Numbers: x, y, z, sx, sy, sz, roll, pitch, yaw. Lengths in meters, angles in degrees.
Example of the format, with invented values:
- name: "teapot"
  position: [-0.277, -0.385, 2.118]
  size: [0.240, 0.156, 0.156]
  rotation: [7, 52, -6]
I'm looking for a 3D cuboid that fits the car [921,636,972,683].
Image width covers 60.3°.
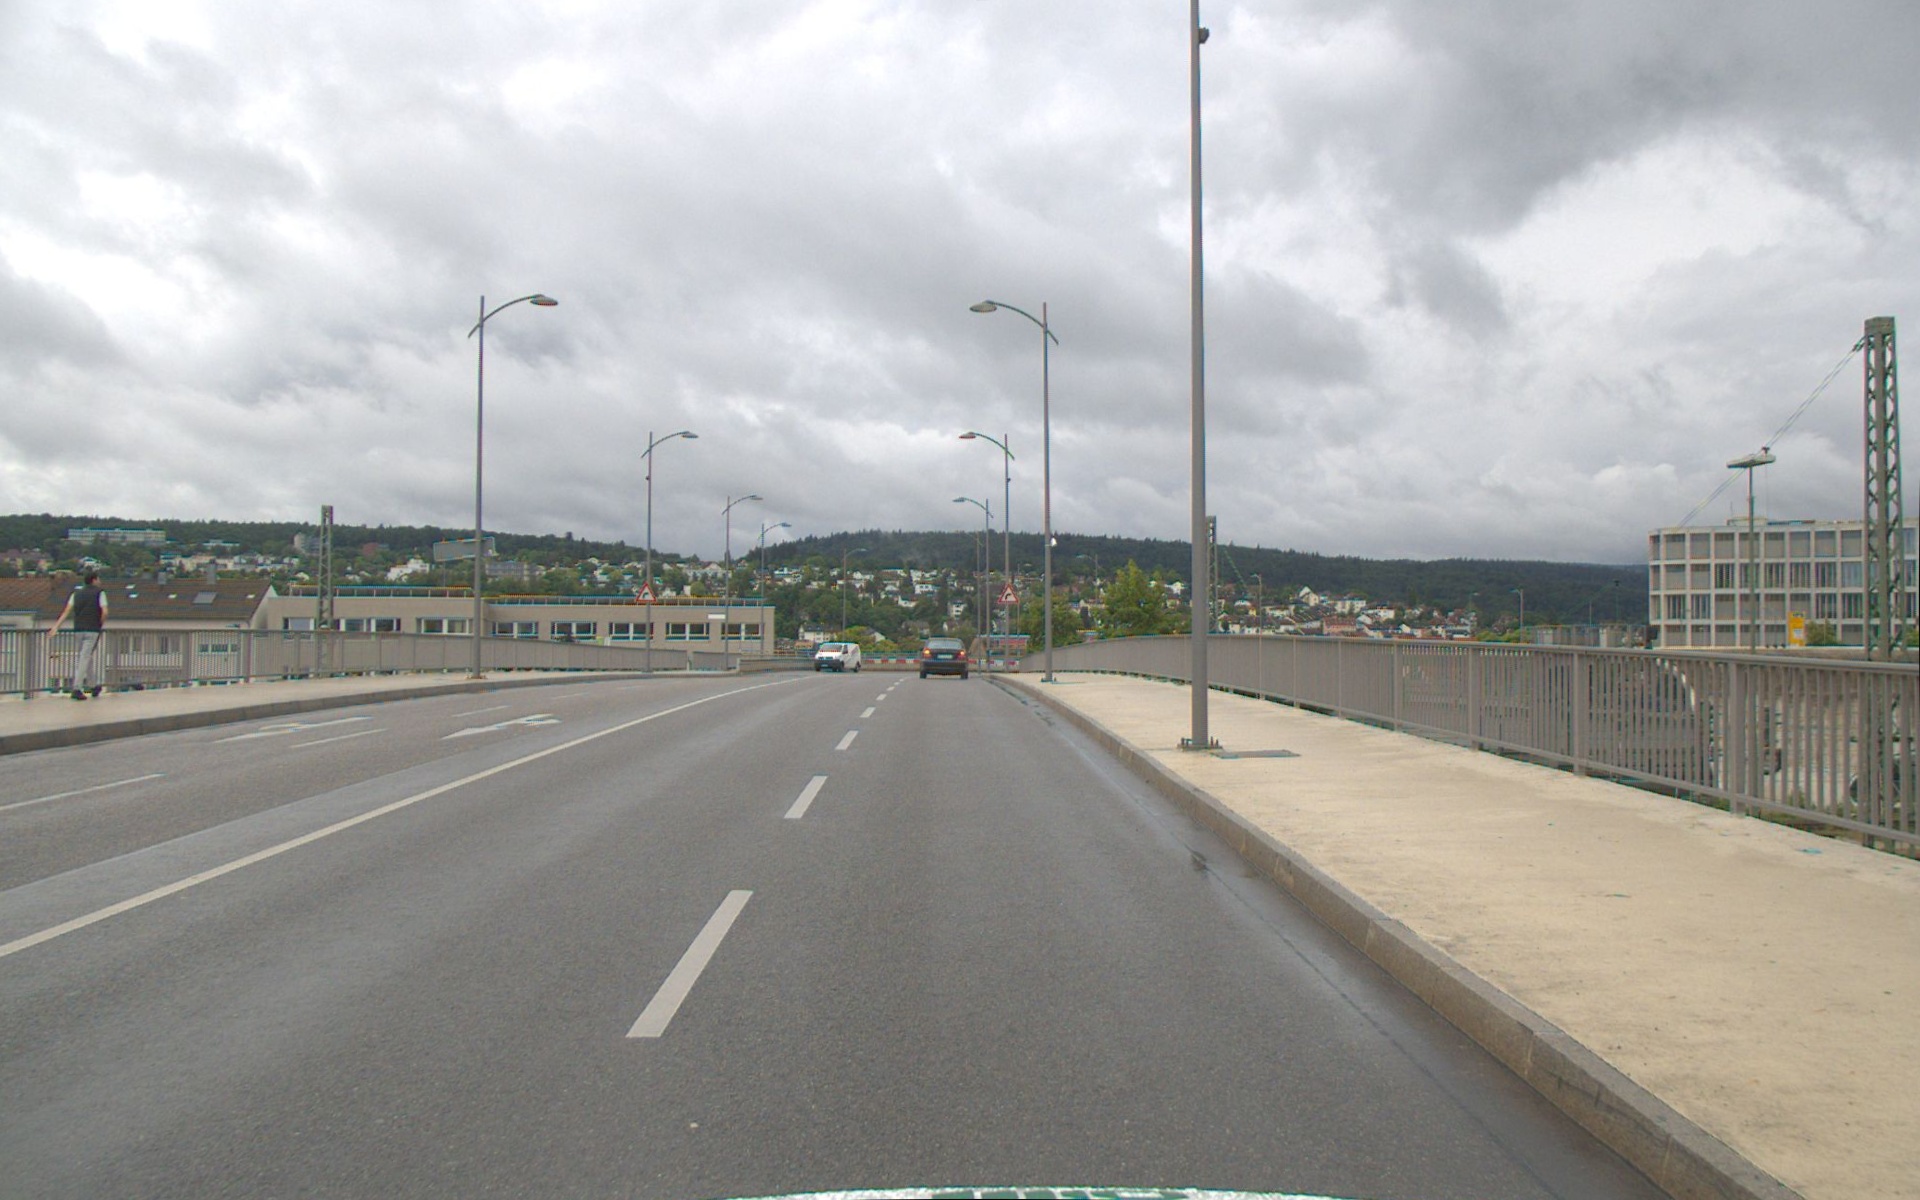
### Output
- name: "car"
  position: [-0.477, 2.049, 57.677]
  size: [1.718, 1.505, 3.999]
  rotation: [1, -1, -1]

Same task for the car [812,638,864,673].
- name: "car"
  position: [-8.233, 3.763, 111.814]
  size: [1.912, 2.135, 4.091]
  rotation: [-3, -5, 21]

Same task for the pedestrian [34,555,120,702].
- name: "pedestrian"
  position: [-12.770, 0.405, 23.945]
  size: [0.741, 2.084, 0.891]
  rotation: [1, -1, -1]
